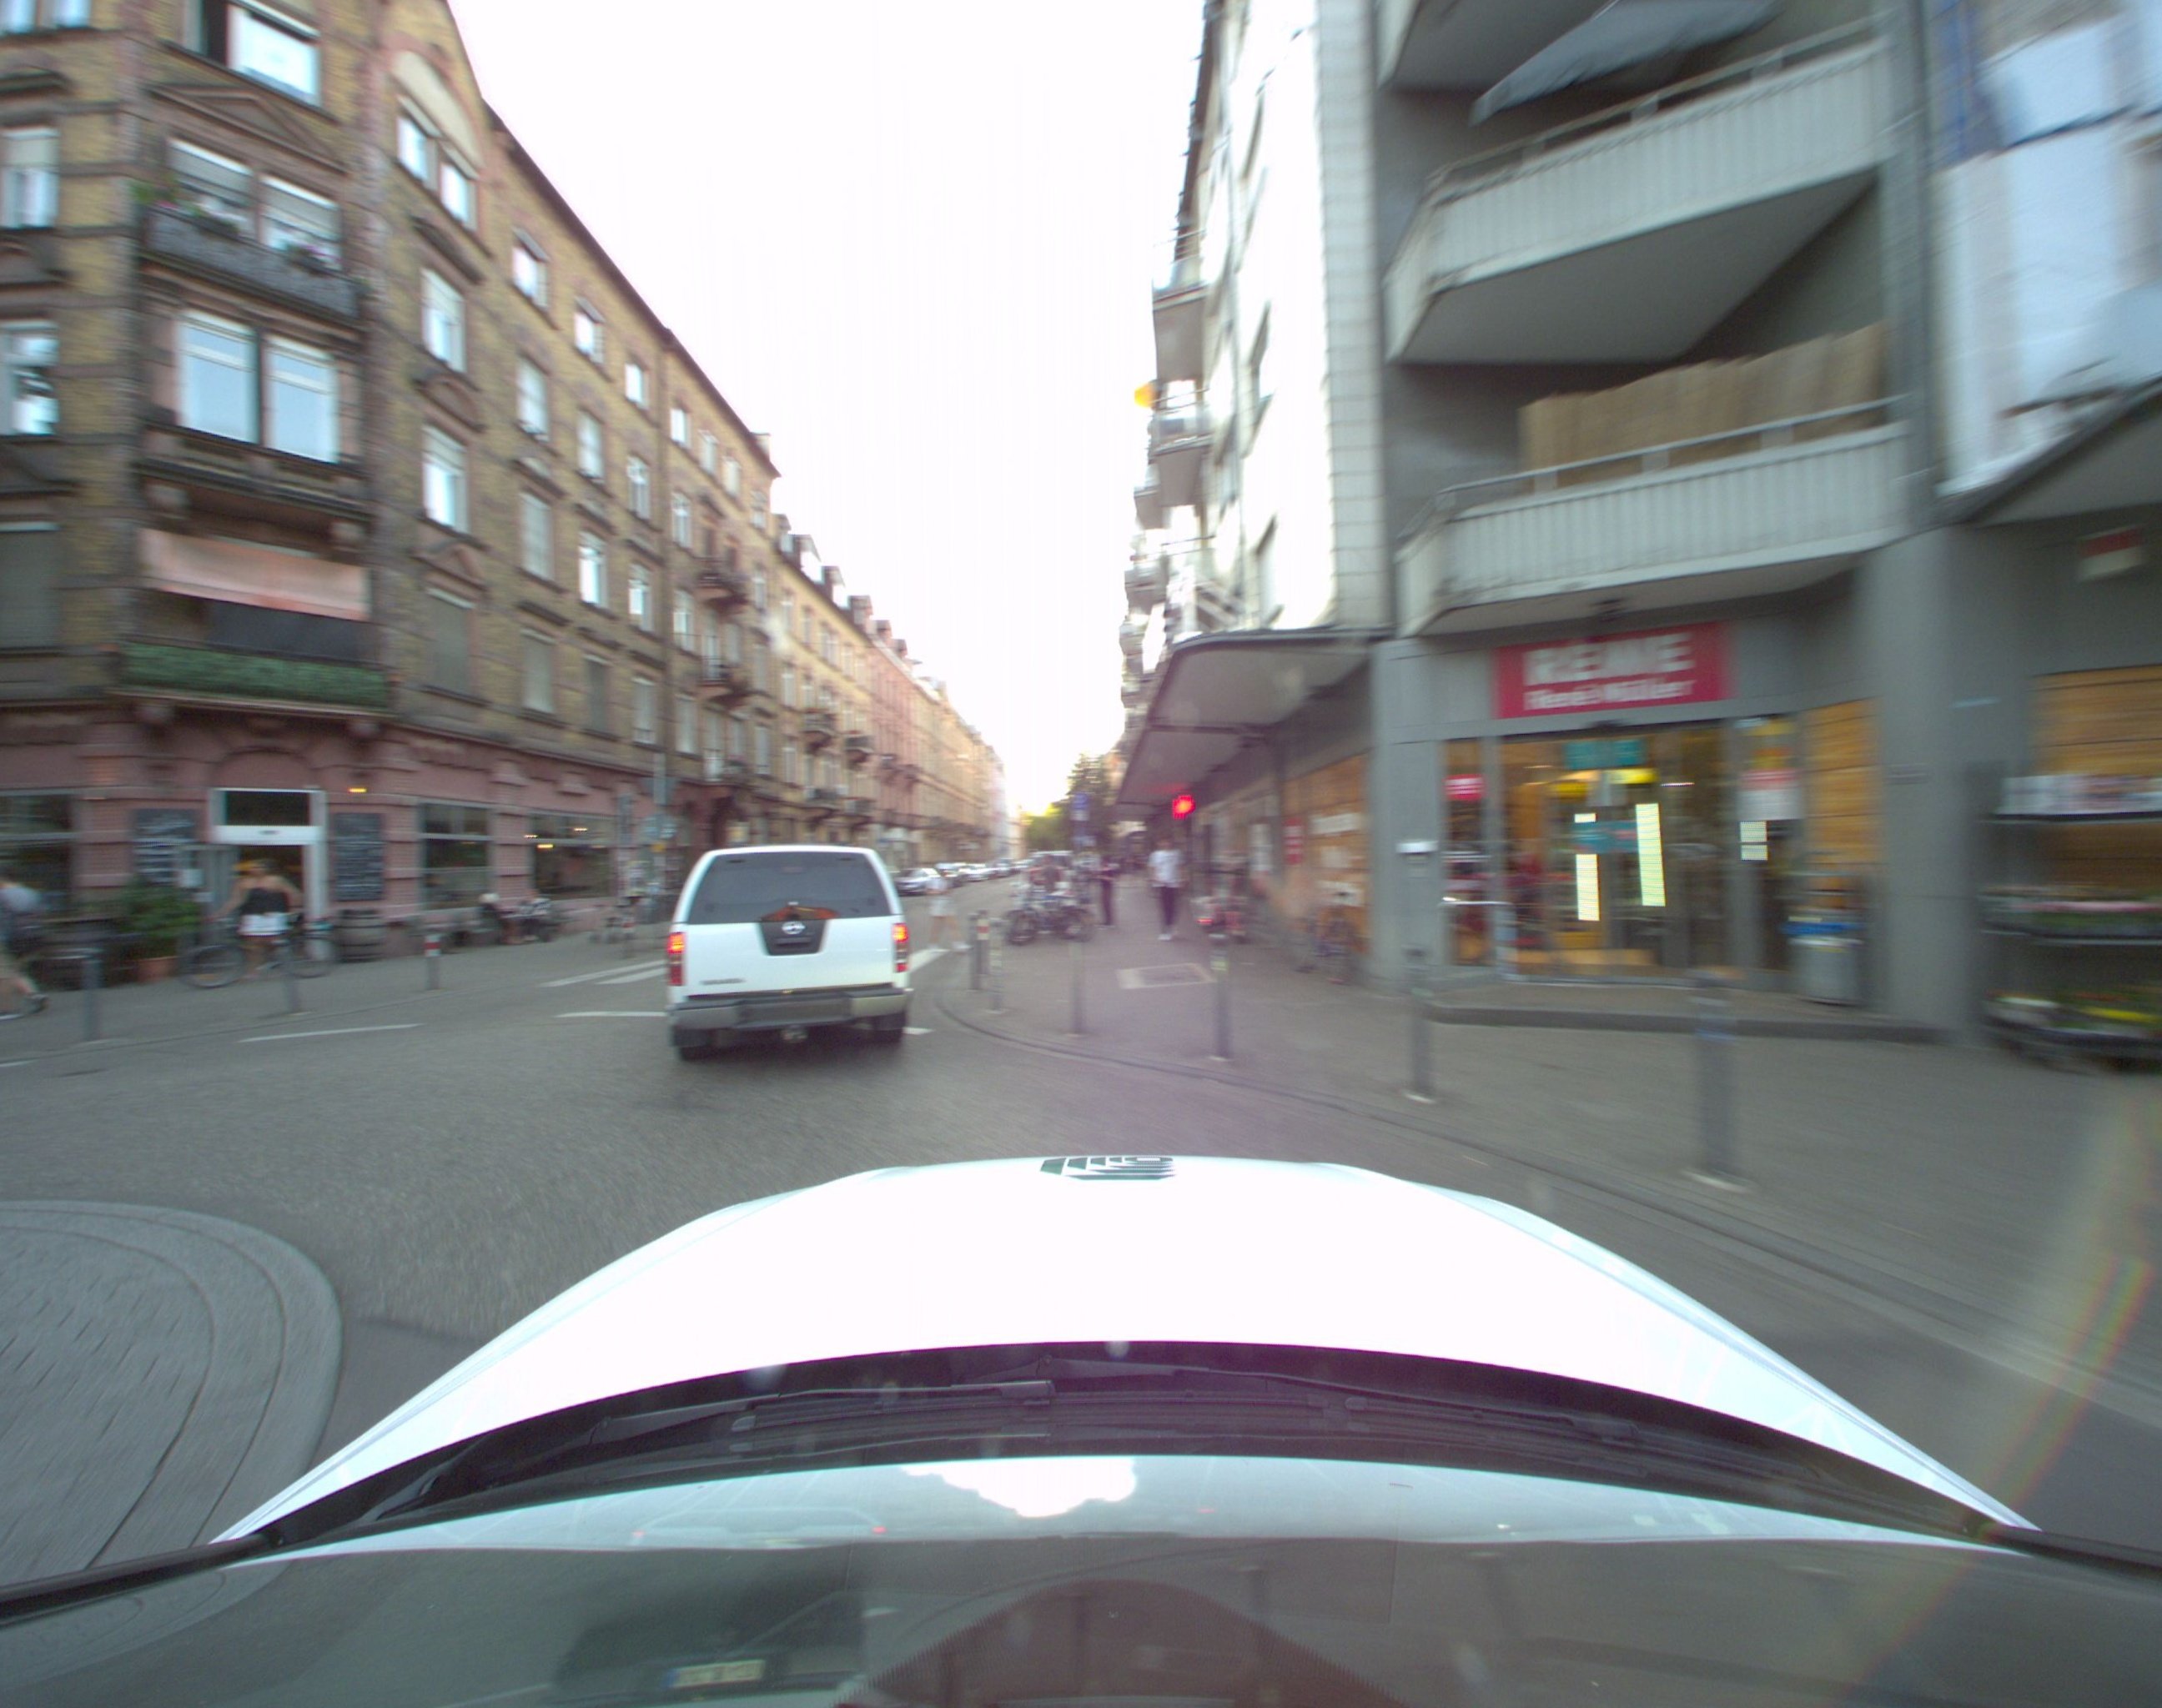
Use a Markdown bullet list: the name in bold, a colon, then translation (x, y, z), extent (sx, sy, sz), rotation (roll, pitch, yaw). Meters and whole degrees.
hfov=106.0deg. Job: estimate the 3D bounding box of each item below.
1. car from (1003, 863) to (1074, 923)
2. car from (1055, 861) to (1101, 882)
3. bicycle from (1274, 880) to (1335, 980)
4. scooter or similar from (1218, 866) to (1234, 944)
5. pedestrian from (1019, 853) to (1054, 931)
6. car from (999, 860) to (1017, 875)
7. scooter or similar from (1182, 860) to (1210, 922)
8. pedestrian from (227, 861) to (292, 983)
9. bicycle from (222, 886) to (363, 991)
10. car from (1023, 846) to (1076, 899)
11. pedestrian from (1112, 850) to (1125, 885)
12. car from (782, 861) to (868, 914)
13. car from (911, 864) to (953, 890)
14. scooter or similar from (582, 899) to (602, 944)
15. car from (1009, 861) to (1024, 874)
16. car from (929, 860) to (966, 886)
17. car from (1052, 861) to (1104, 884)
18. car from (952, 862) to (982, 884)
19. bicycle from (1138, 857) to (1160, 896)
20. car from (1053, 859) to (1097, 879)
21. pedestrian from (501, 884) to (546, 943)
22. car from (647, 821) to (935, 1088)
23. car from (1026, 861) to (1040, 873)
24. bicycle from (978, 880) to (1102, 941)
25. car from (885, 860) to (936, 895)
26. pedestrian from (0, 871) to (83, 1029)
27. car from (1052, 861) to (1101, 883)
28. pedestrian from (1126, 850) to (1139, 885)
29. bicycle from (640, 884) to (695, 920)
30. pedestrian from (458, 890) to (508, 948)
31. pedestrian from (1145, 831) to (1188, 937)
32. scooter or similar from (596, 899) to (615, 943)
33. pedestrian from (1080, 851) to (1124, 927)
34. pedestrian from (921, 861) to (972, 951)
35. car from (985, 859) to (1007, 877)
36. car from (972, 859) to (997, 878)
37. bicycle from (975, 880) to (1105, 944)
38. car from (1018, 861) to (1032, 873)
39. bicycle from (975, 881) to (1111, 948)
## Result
- **car**: translation (-1.120, 1.035, 23.101), extent (1.829, 1.542, 3.999), rotation (0, -1, 0)
- **car**: translation (-0.283, 1.527, 71.026), extent (3.975, 1.750, 1.840), rotation (0, -1, -1)
- **bicycle**: translation (2.659, 0.880, 9.760), extent (0.289, 1.112, 0.962), rotation (0, -1, -12)
- **scooter or similar**: translation (2.468, 0.849, 13.905), extent (0.218, 1.237, 0.968), rotation (-1, 1, 8)
- **pedestrian**: translation (-0.967, 0.818, 17.786), extent (0.717, 1.663, 0.702), rotation (0, -1, 0)
- **car**: translation (-8.653, 1.592, 96.772), extent (1.829, 1.750, 3.999), rotation (0, -1, 0)
- **scooter or similar**: translation (2.499, 0.793, 17.834), extent (0.438, 1.290, 1.668), rotation (0, -1, 3)
- **pedestrian**: translation (-12.716, 1.027, 12.624), extent (0.506, 1.840, 0.568), rotation (0, -1, -22)
- **bicycle**: translation (-12.155, 1.251, 12.645), extent (0.423, 1.442, 1.902), rotation (0, -1, -4)
- **car**: translation (-1.181, 0.695, 31.885), extent (1.936, 1.934, 3.999), rotation (0, -1, 0)
- **pedestrian**: translation (2.008, 0.716, 43.551), extent (0.624, 1.811, 0.789), rotation (0, -1, 1)
- **car**: translation (-9.130, 1.145, 29.352), extent (1.829, 1.750, 3.999), rotation (0, -1, 0)
- **car**: translation (-9.115, 1.375, 49.993), extent (1.829, 1.547, 4.036), rotation (0, -1, 0)
- **scooter or similar**: translation (-11.051, 1.508, 18.411), extent (0.234, 0.929, 1.255), rotation (0, -1, -25)
- **car**: translation (-9.218, 1.914, 115.831), extent (1.829, 1.750, 3.999), rotation (0, -1, 0)
- **car**: translation (-8.995, 1.276, 55.042), extent (1.829, 1.678, 4.036), rotation (0, -1, 0)
- **car**: translation (-0.228, 1.422, 63.214), extent (3.975, 1.750, 1.840), rotation (0, -1, -1)
- **car**: translation (-9.114, 1.501, 65.235), extent (1.829, 1.750, 3.999), rotation (0, -1, 0)
- **bicycle**: translation (2.485, 0.817, 29.972), extent (0.554, 1.408, 2.093), rotation (0, -1, -2)
- **car**: translation (-0.531, 1.376, 75.420), extent (3.975, 1.750, 1.840), rotation (0, -1, -1)
- **pedestrian**: translation (-12.594, 1.335, 18.406), extent (0.647, 1.286, 0.539), rotation (0, -1, -4)
- **car**: translation (-3.024, 0.736, 8.252), extent (1.946, 1.810, 4.962), rotation (-2, -1, -23)
- **car**: translation (-6.751, 1.819, 114.556), extent (1.829, 1.750, 3.999), rotation (0, -1, 0)
- **bicycle**: translation (-0.851, 1.150, 16.861), extent (2.457, 1.038, 0.616), rotation (-4, -1, -5)
- **car**: translation (-9.025, 1.229, 43.407), extent (1.829, 1.750, 4.161), rotation (0, -1, 0)
- **pedestrian**: translation (-13.171, 1.158, 10.040), extent (0.909, 1.885, 0.610), rotation (0, -1, -31)
- **car**: translation (-0.371, 1.488, 68.083), extent (3.975, 1.750, 1.840), rotation (0, -1, -1)
- **pedestrian**: translation (2.743, 0.721, 43.215), extent (0.630, 1.811, 0.486), rotation (-1, -1, 13)
- **bicycle**: translation (-12.859, 1.469, 25.425), extent (0.385, 1.036, 2.483), rotation (0, -1, 1)
- **pedestrian**: translation (-12.632, 1.367, 17.219), extent (0.647, 1.191, 0.539), rotation (0, -1, -4)
- **pedestrian**: translation (1.570, 0.542, 14.985), extent (0.717, 1.906, 0.702), rotation (0, -1, 0)
- **scooter or similar**: translation (-10.814, 1.508, 18.527), extent (0.234, 0.929, 1.255), rotation (0, -1, -25)
- **pedestrian**: translation (0.477, 0.772, 18.447), extent (0.713, 1.663, 0.707), rotation (-1, -1, 39)
- **pedestrian**: translation (-2.482, 0.938, 15.099), extent (0.796, 1.621, 0.944), rotation (0, -1, -2)
- **car**: translation (-8.589, 1.401, 82.509), extent (1.829, 1.750, 3.999), rotation (0, -1, 0)
- **car**: translation (-8.816, 1.331, 74.698), extent (1.829, 1.750, 3.999), rotation (0, -1, 0)
- **bicycle**: translation (-0.817, 1.141, 16.192), extent (2.457, 1.038, 0.616), rotation (-4, -1, -5)
- **car**: translation (-8.449, 1.932, 122.432), extent (1.829, 1.750, 3.999), rotation (0, -1, 0)
- **bicycle**: translation (-0.720, 1.140, 15.513), extent (2.457, 1.038, 0.616), rotation (-4, -1, -5)
